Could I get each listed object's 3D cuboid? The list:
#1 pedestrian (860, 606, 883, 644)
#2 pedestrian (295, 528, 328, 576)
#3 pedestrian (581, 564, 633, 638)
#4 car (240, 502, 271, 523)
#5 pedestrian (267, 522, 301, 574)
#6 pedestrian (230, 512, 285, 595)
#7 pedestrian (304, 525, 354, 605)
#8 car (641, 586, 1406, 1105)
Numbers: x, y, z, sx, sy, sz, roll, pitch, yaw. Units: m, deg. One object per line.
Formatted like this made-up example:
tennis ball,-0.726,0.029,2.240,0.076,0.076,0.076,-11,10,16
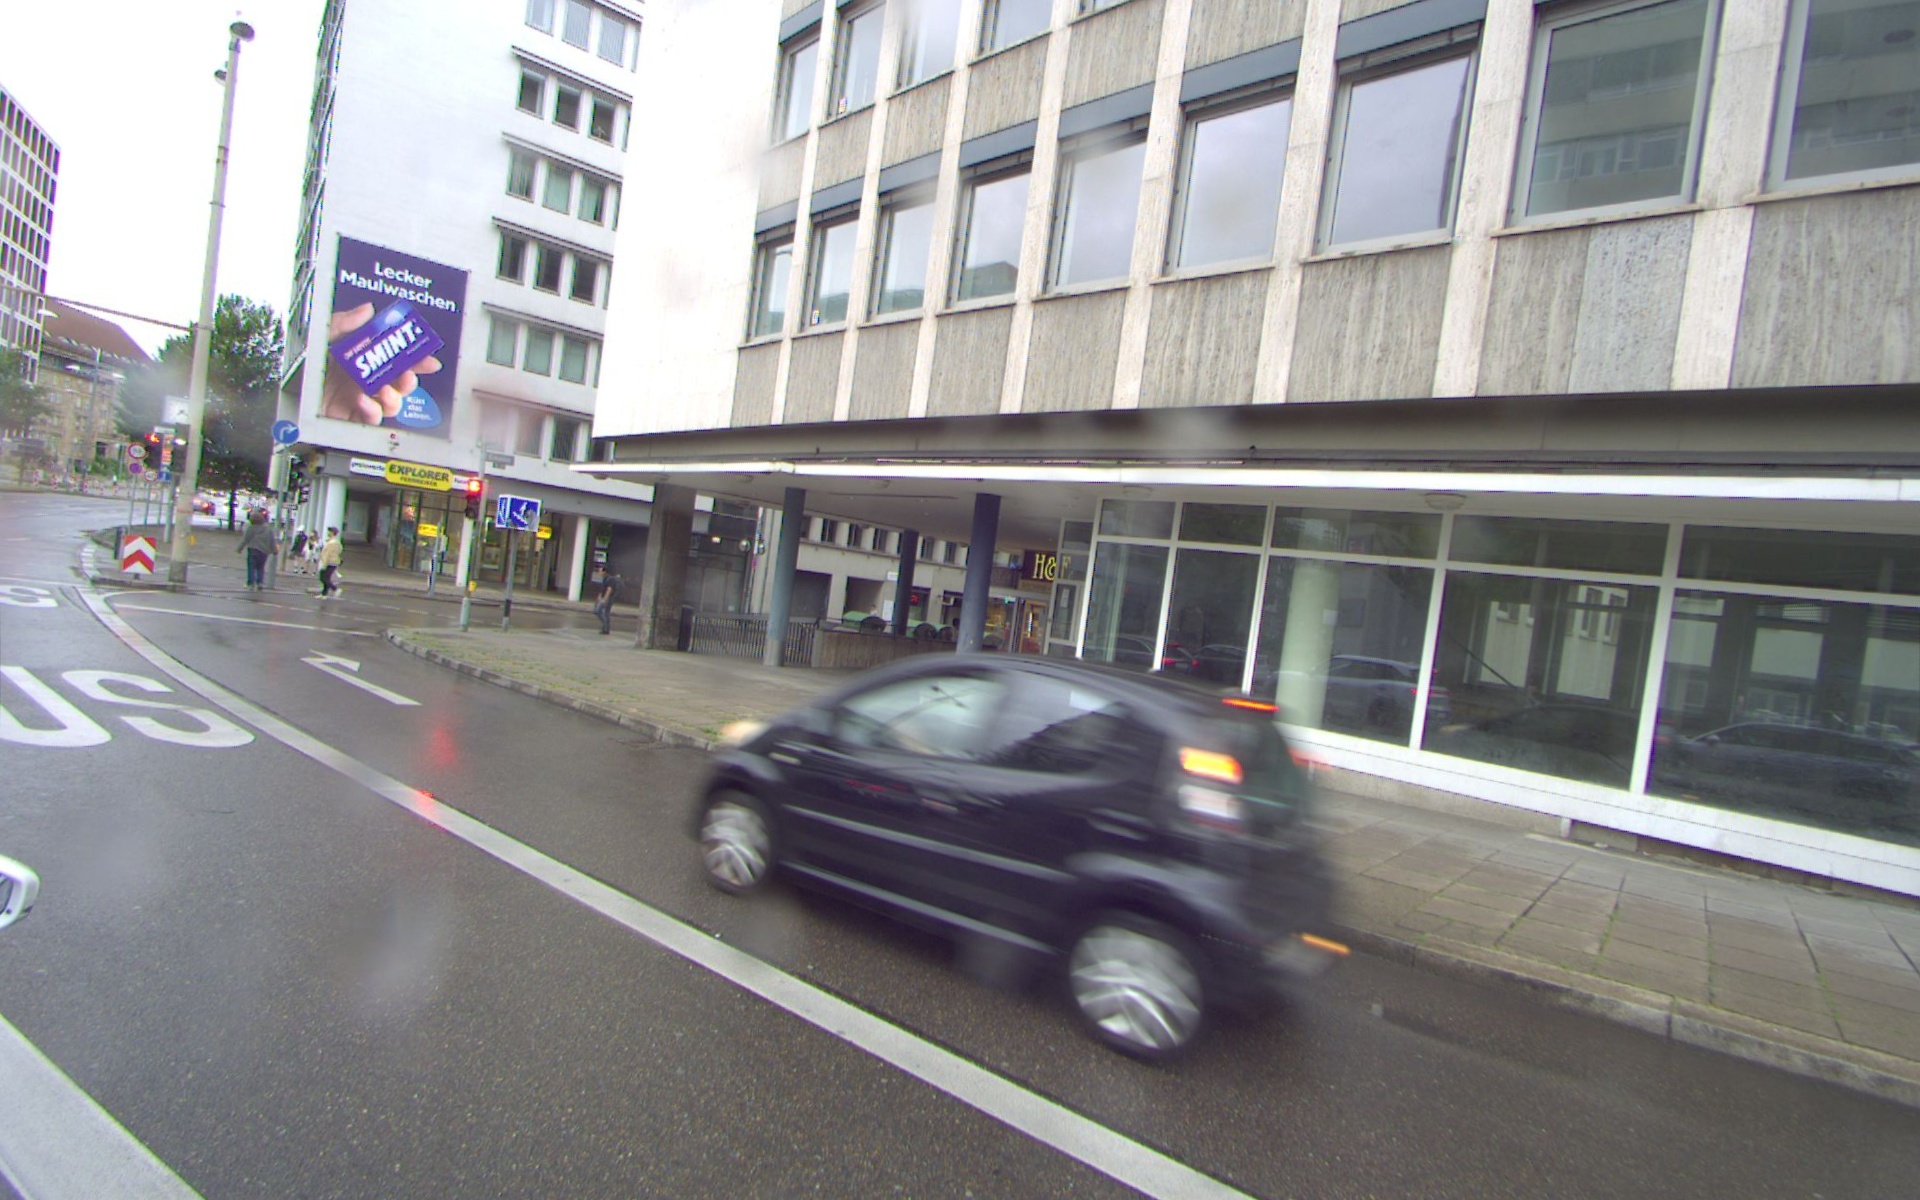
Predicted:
pedestrian,-4.412,1.238,50.363,0.677,1.820,0.722,7,0,-37
pedestrian,-22.632,-1.680,35.118,0.725,1.542,0.751,7,-1,-43
pedestrian,-9.117,0.025,26.007,1.002,1.776,0.793,7,-1,-14
car,-74.379,-9.198,106.264,2.032,1.786,4.324,9,-2,-29
pedestrian,-23.338,-1.798,34.746,0.725,1.688,0.682,7,0,-43
pedestrian,-16.560,-1.093,23.710,0.810,1.820,0.702,7,0,-43
pedestrian,-15.347,-0.853,24.465,0.725,1.820,0.730,7,1,-43
car,0.186,0.909,5.154,3.430,1.490,1.663,7,-1,37
